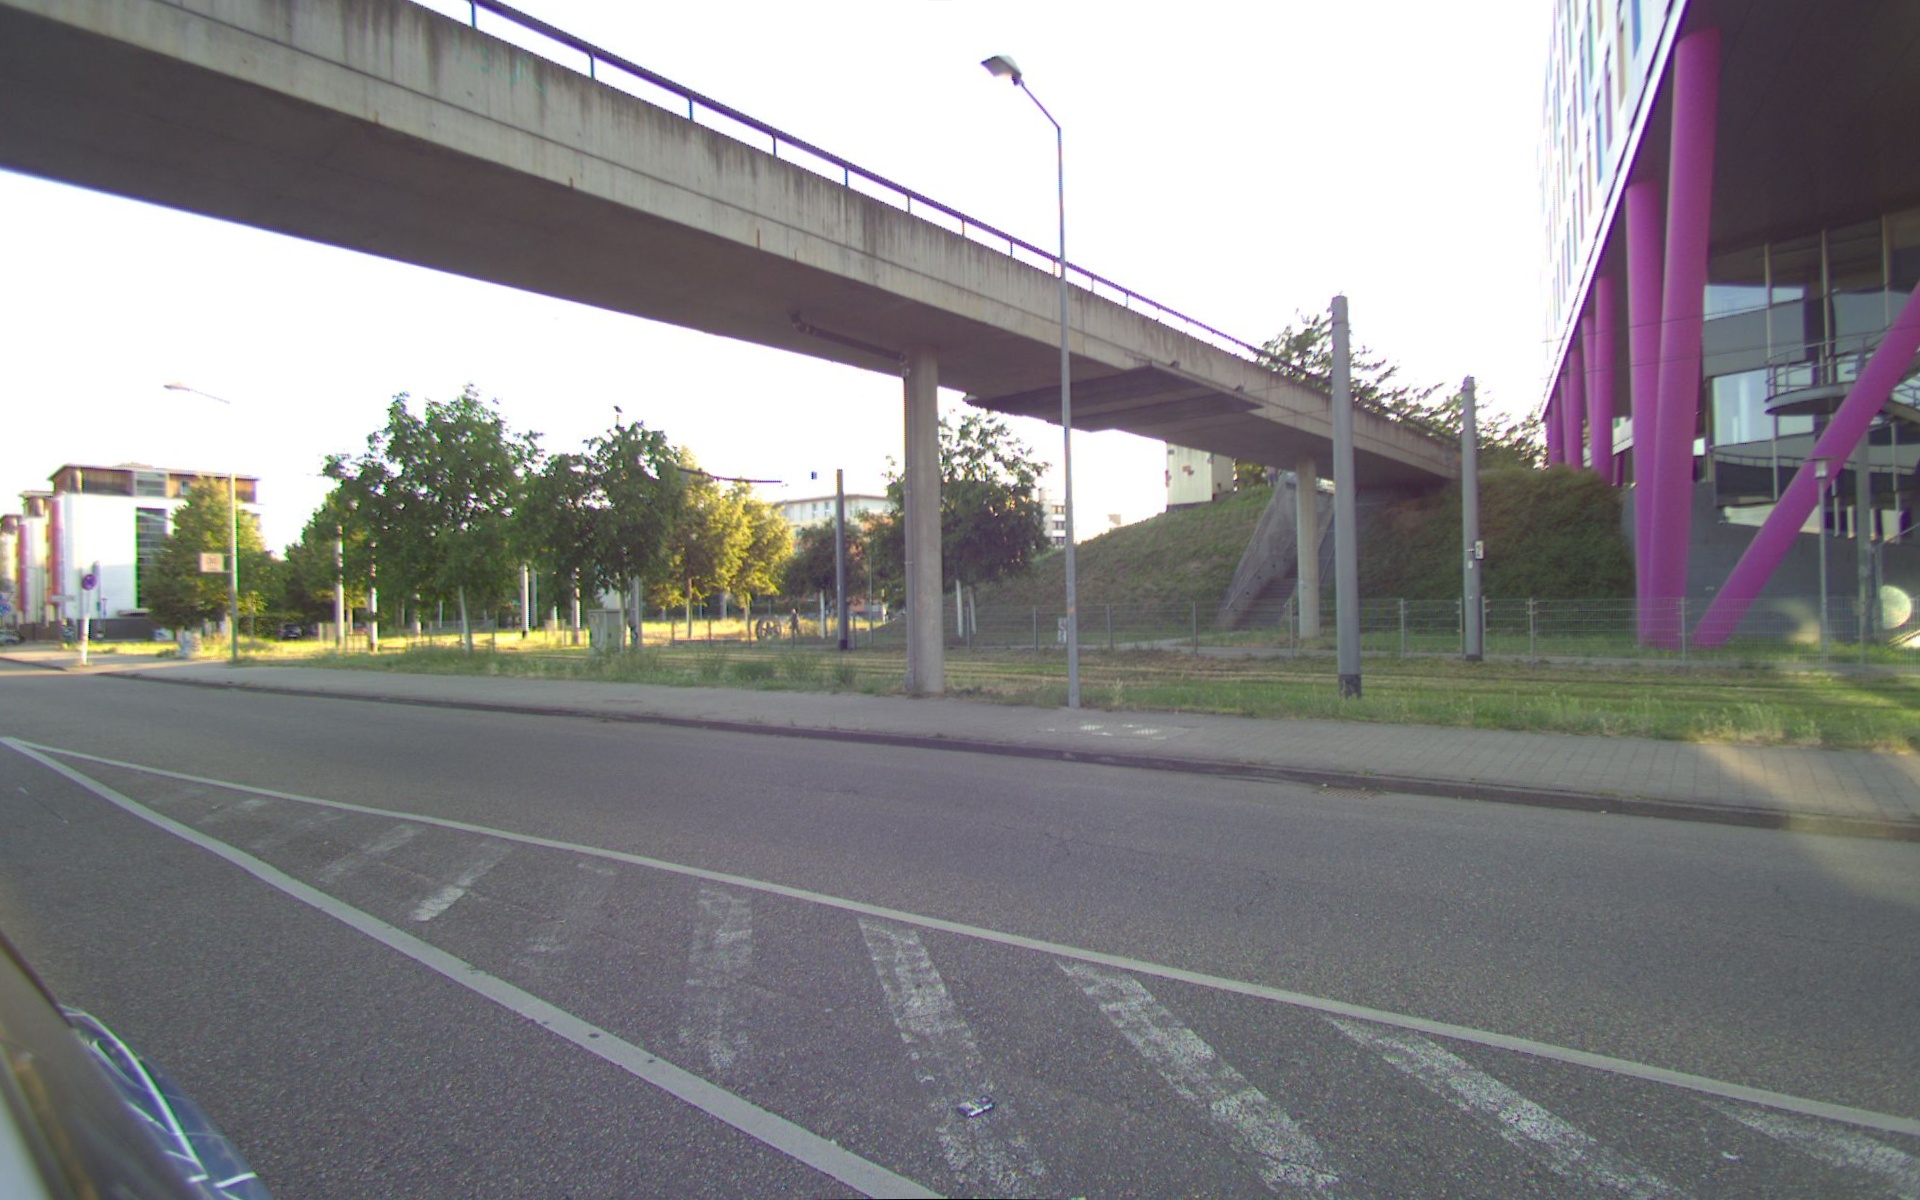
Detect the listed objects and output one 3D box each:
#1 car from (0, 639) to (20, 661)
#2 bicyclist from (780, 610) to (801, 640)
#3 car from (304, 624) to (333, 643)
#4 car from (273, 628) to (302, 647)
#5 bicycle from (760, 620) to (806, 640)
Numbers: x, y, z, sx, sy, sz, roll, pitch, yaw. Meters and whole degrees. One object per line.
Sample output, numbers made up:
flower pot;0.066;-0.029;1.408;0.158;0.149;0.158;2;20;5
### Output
car;-80.363;4.147;83.552;2.000;1.741;3.944;-2;-1;42
bicyclist;-9.409;1.366;56.277;0.716;1.644;0.898;-2;-1;38
car;-55.247;2.859;87.116;1.913;1.541;4.009;-1;-1;-36
car;-57.026;3.144;85.789;1.913;1.541;4.009;-1;-1;-36
bicycle;-9.736;1.640;55.775;0.654;1.016;2.808;-2;-1;36
